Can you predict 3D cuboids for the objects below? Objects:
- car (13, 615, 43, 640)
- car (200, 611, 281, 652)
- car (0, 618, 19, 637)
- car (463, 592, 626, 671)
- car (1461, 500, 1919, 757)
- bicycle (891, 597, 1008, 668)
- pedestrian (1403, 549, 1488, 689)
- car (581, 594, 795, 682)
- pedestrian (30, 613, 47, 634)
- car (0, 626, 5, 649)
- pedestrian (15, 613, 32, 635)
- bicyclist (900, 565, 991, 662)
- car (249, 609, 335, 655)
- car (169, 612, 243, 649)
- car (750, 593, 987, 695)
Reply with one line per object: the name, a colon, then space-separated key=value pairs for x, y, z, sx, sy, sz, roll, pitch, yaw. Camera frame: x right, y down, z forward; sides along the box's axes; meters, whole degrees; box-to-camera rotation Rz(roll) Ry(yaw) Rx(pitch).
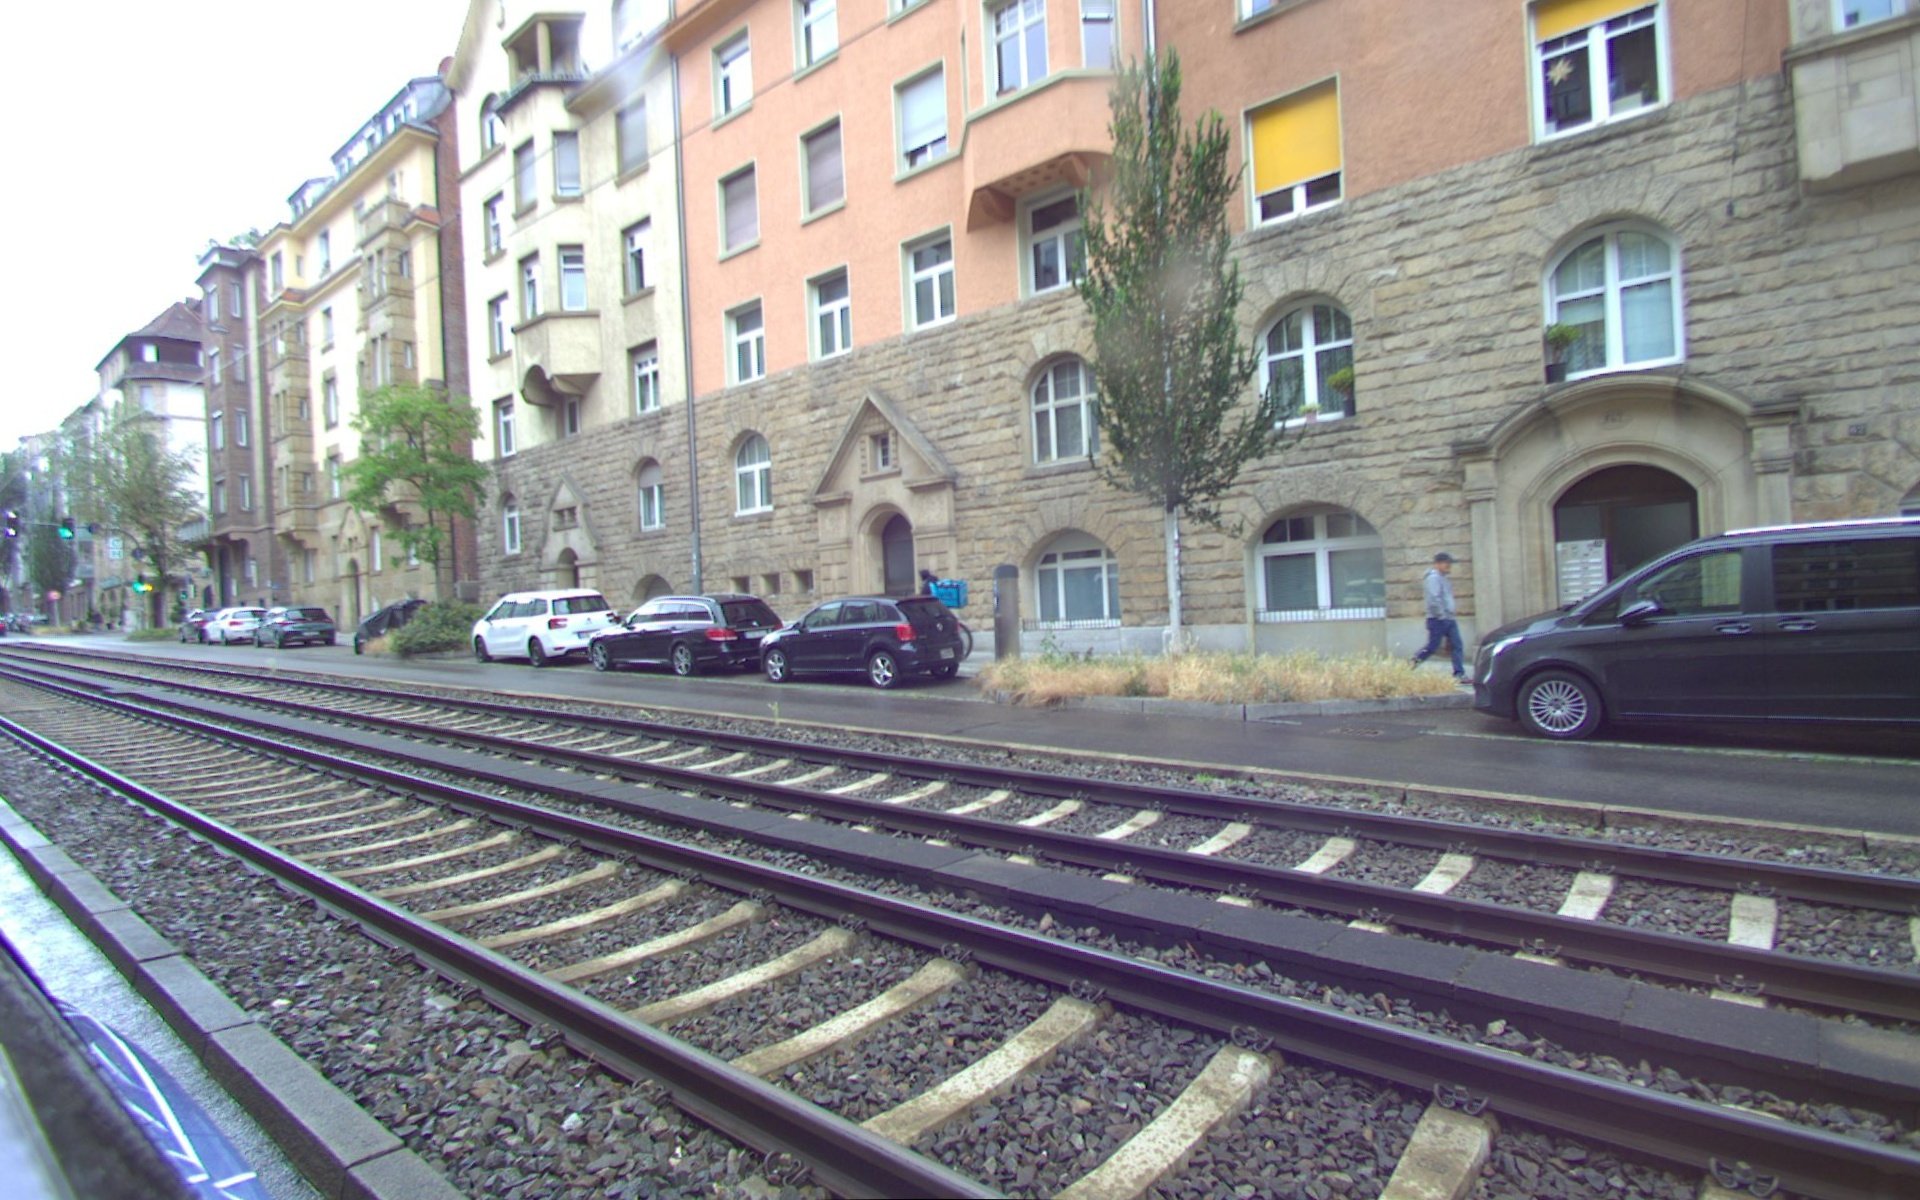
car: x=-69.050 y=1.999 z=74.995 sx=1.561 sy=1.691 sz=3.794 roll=-2 pitch=2 yaw=-43
car: x=-28.298 y=1.216 z=39.780 sx=4.030 sy=1.452 sz=1.748 roll=-1 pitch=1 yaw=42
car: x=-80.925 y=2.296 z=85.435 sx=3.843 sy=1.527 sz=1.748 roll=-1 pitch=0 yaw=41
car: x=-9.759 y=0.706 z=23.626 sx=4.144 sy=1.668 sz=1.843 roll=-1 pitch=0 yaw=41
car: x=7.331 y=0.219 z=8.995 sx=4.823 sy=1.956 sz=1.973 roll=-1 pitch=0 yaw=41
bicycle: x=-0.208 y=0.574 z=18.211 sx=2.034 sy=1.195 sz=0.816 roll=-1 pitch=0 yaw=38
pedestrian: x=6.135 y=0.224 z=12.790 sx=0.765 sy=1.653 sz=0.692 roll=-1 pitch=5 yaw=41
car: x=-5.452 y=0.701 z=19.953 sx=4.599 sy=1.506 sz=1.824 roll=-1 pitch=0 yaw=41
pedestrian: x=-86.101 y=2.197 z=94.577 sx=1.163 sy=1.972 sz=1.042 roll=-1 pitch=0 yaw=43
car: x=-68.771 y=2.663 z=71.202 sx=4.962 sy=1.535 sz=1.784 roll=-1 pitch=0 yaw=41
pedestrian: x=-86.791 y=2.200 z=93.759 sx=1.163 sy=1.972 sz=1.042 roll=-1 pitch=0 yaw=43
bicyclist: x=-0.260 y=0.233 z=18.256 sx=1.251 sy=1.608 sz=0.877 roll=-1 pitch=6 yaw=37
car: x=-23.696 y=1.100 z=35.876 sx=3.845 sy=1.452 sz=1.656 roll=-1 pitch=1 yaw=43
car: x=-32.156 y=1.271 z=43.103 sx=3.843 sy=1.452 sz=1.748 roll=-1 pitch=0 yaw=41
car: x=-1.571 y=0.673 z=16.931 sx=3.638 sy=1.508 sz=1.912 roll=-1 pitch=0 yaw=38
